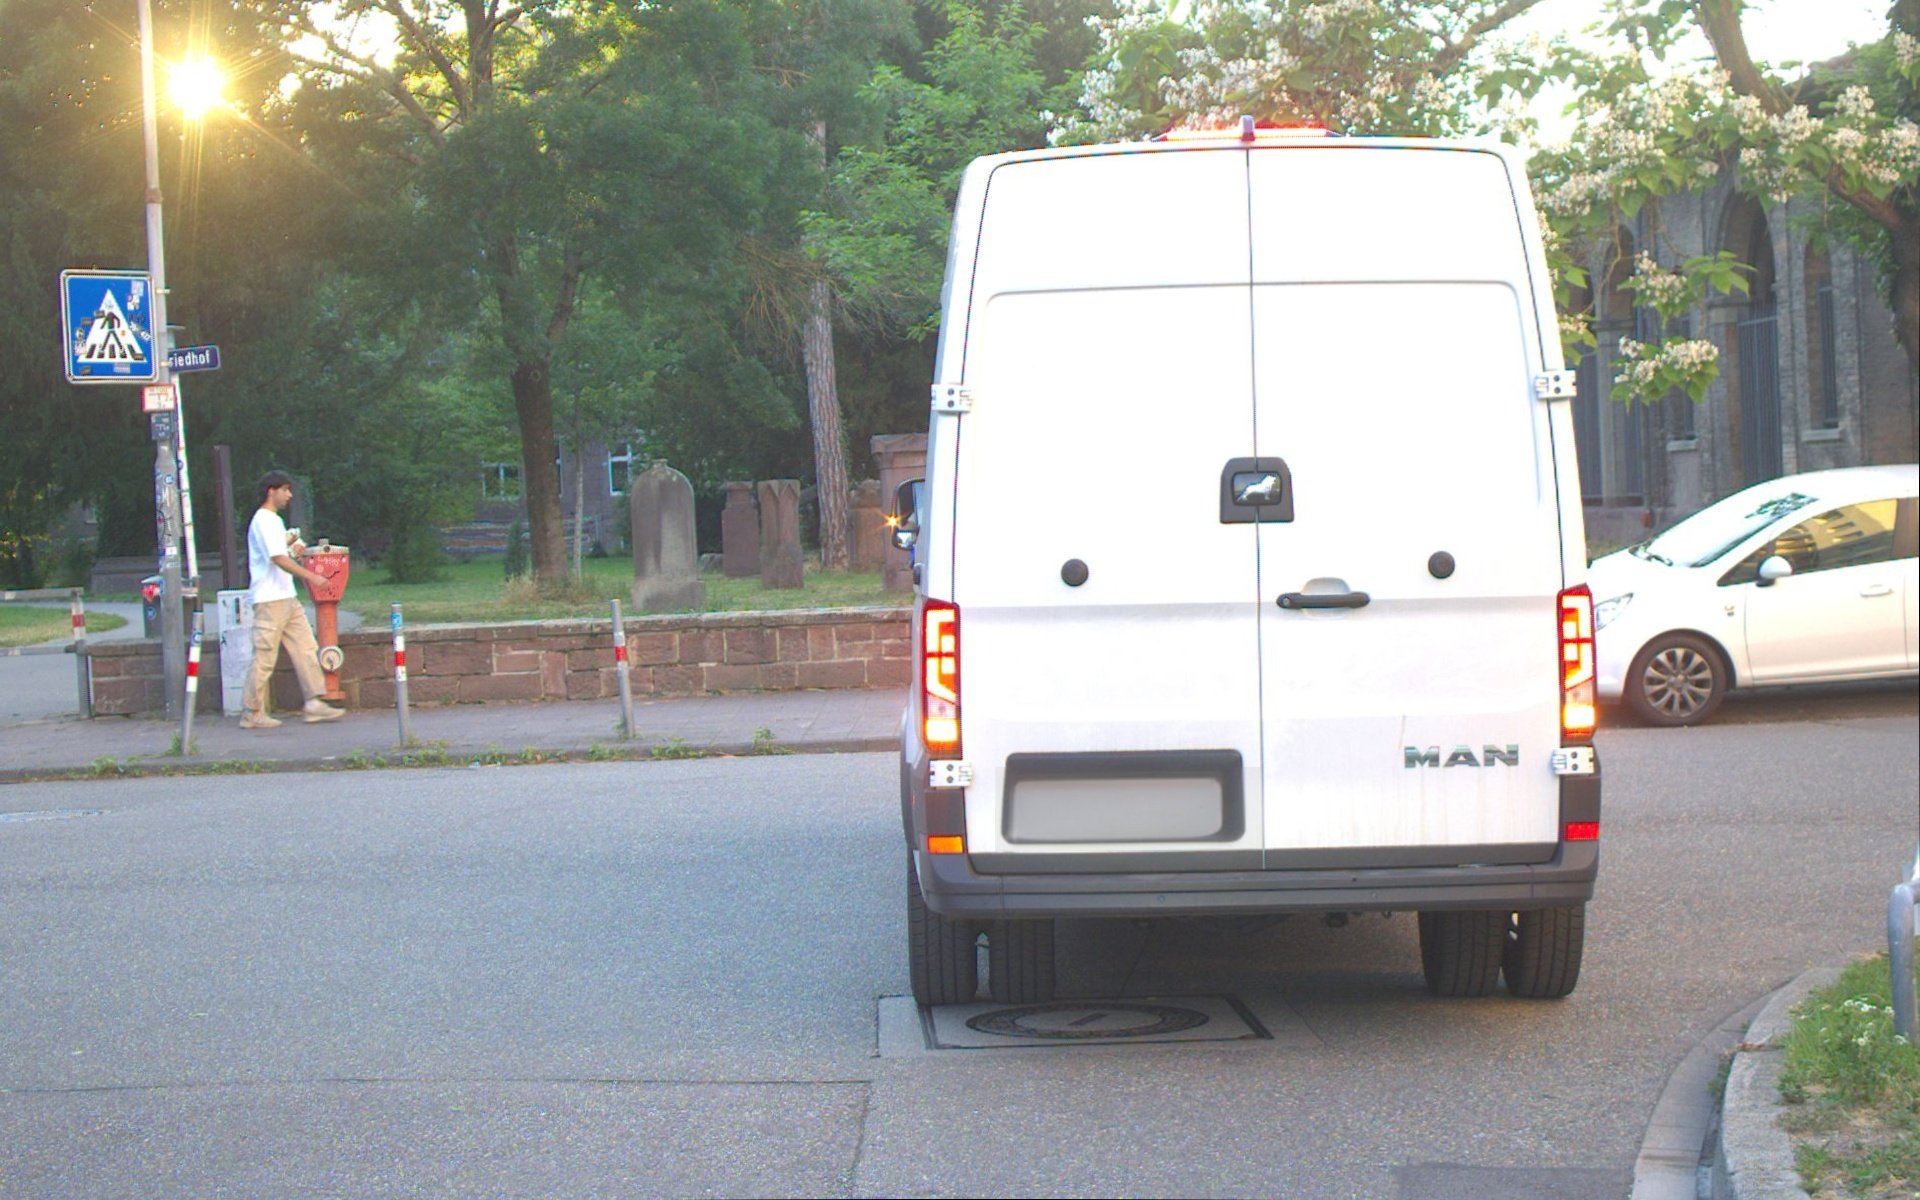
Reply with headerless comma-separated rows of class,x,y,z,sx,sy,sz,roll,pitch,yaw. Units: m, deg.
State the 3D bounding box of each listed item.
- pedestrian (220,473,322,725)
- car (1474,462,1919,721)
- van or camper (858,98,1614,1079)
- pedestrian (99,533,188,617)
pedestrian,-4.999,-0.014,24.970,0.593,1.803,0.621,-1,1,0
car,5.522,-0.103,22.704,3.854,1.568,1.958,-2,2,-3
van or camper,0.887,-0.079,12.443,1.994,2.609,6.402,-1,1,3
pedestrian,-14.698,-0.453,61.892,1.328,1.439,1.046,-2,1,-3
